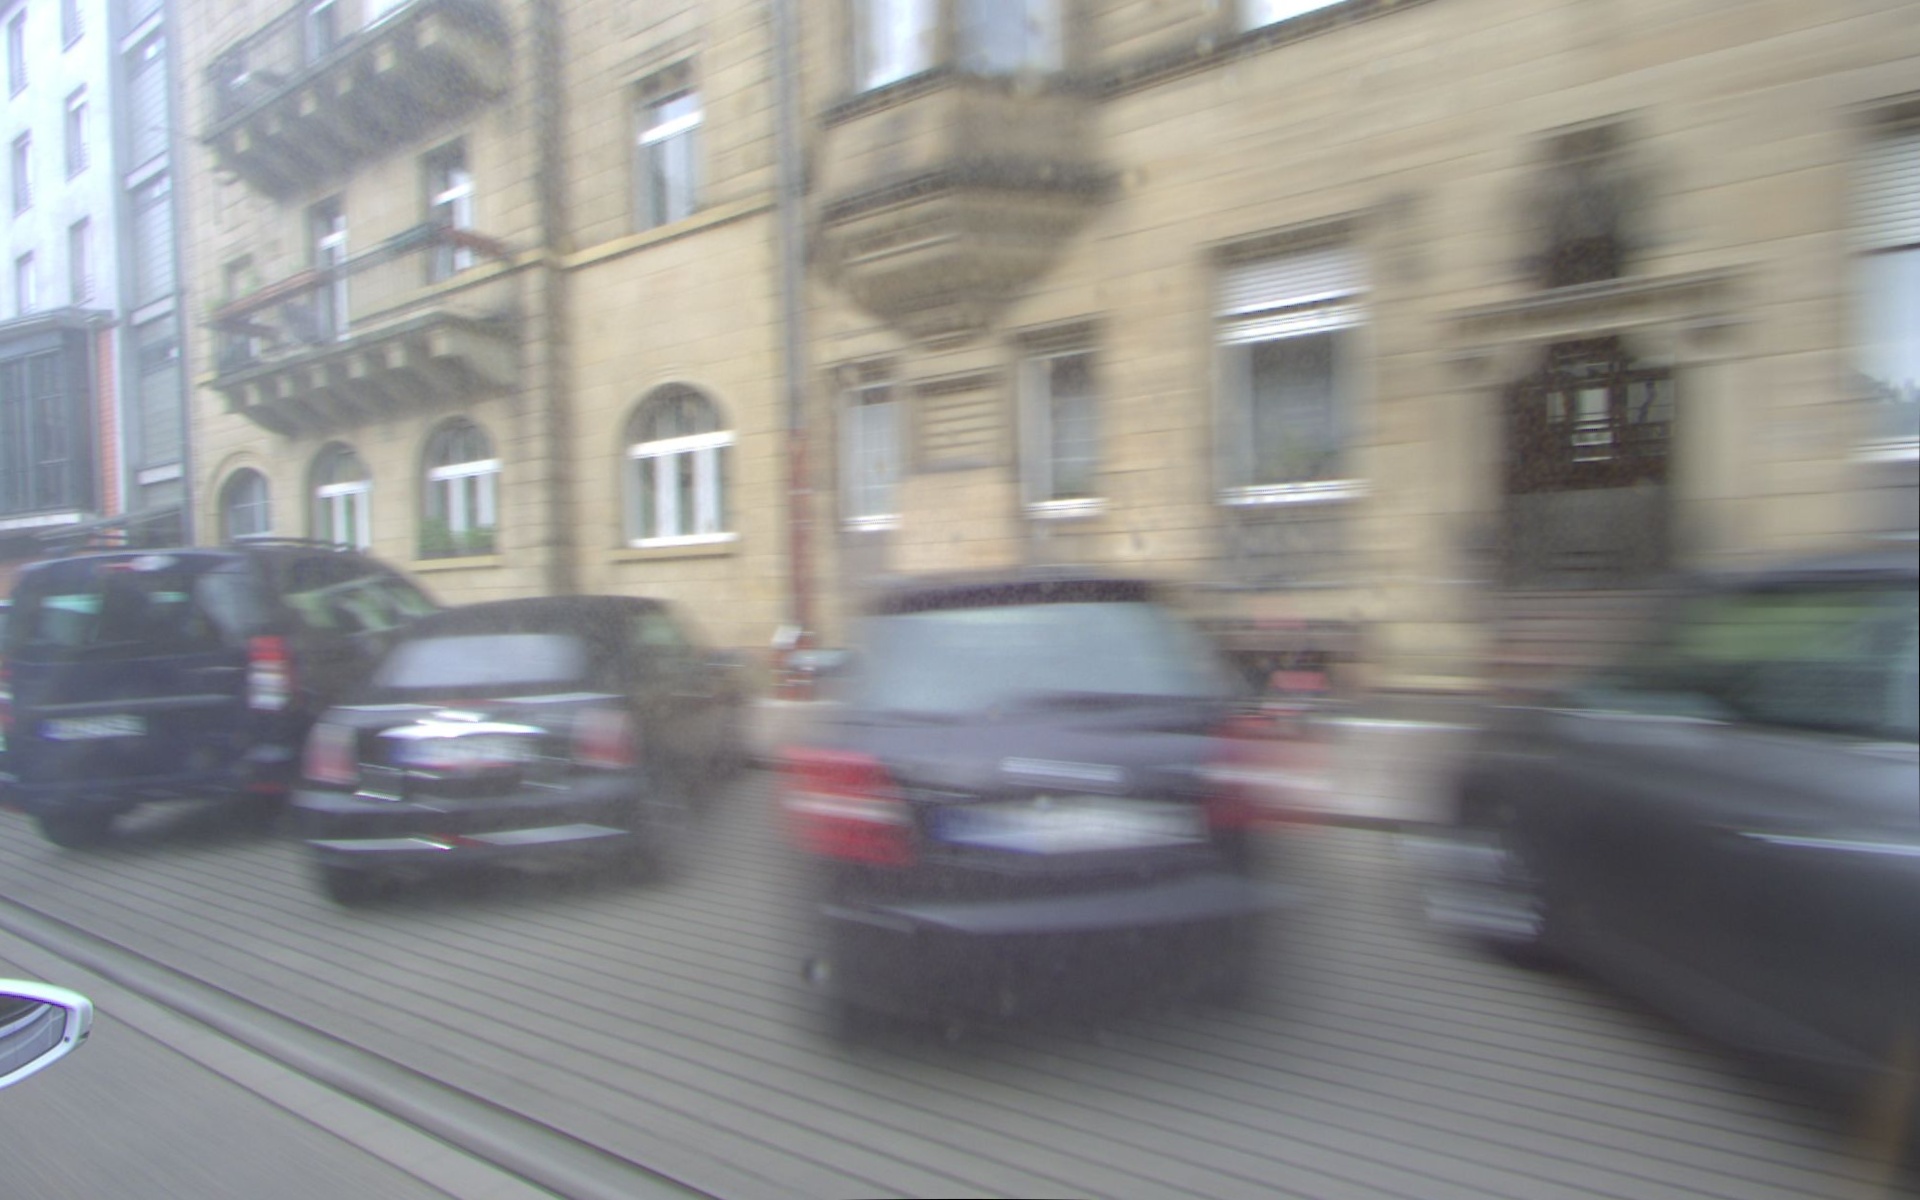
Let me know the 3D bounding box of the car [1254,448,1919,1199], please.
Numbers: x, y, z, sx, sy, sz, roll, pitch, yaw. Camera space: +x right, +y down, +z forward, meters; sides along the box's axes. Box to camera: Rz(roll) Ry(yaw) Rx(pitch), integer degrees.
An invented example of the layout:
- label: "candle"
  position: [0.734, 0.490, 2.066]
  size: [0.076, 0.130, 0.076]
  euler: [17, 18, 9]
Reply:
- label: "car"
  position: [2.646, 0.439, 3.188]
  size: [1.713, 1.596, 4.461]
  euler: [-1, 2, -6]

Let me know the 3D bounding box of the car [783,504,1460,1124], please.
- label: "car"
  position: [0.235, 0.527, 4.877]
  size: [1.816, 1.573, 4.463]
  euler: [-1, 1, -6]

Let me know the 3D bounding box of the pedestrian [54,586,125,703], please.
- label: "pedestrian"
  position: [-12.889, 0.652, 14.833]
  size: [0.706, 1.684, 0.517]
  euler: [-2, 1, 29]

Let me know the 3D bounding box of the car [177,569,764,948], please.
- label: "car"
  position: [-2.476, 0.614, 6.366]
  size: [1.993, 1.474, 4.066]
  euler: [-2, 3, -6]

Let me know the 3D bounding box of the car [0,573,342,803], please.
- label: "car"
  position: [-7.634, 0.605, 9.238]
  size: [1.732, 1.624, 3.995]
  euler: [-1, 3, -7]

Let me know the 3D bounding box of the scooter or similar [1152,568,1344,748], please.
- label: "scooter or similar"
  position: [2.084, 0.416, 7.278]
  size: [1.202, 1.204, 0.432]
  euler: [-3, 5, 33]

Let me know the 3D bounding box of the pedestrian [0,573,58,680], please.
- label: "pedestrian"
  position: [-16.130, 0.444, 17.197]
  size: [0.799, 1.778, 0.628]
  euler: [0, 3, 29]

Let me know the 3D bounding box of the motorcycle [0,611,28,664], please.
- label: "motorcycle"
  position: [-21.976, 0.850, 22.899]
  size: [0.595, 1.159, 1.871]
  euler: [-2, 1, -32]

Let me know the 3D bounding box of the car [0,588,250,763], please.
- label: "car"
  position: [-9.961, 0.731, 10.556]
  size: [1.894, 1.555, 3.996]
  euler: [-1, 3, 3]

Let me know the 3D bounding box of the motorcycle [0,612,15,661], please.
- label: "motorcycle"
  position: [-23.647, 0.879, 24.261]
  size: [2.041, 1.159, 0.599]
  euler: [-1, 1, 33]

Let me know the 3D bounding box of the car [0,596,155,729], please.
- label: "car"
  position: [-12.259, 0.799, 11.822]
  size: [1.652, 1.499, 4.256]
  euler: [0, 3, 8]

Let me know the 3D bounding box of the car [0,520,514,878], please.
- label: "car"
  position: [-5.021, 0.458, 7.604]
  size: [1.844, 1.933, 4.277]
  euler: [-1, 2, -9]
